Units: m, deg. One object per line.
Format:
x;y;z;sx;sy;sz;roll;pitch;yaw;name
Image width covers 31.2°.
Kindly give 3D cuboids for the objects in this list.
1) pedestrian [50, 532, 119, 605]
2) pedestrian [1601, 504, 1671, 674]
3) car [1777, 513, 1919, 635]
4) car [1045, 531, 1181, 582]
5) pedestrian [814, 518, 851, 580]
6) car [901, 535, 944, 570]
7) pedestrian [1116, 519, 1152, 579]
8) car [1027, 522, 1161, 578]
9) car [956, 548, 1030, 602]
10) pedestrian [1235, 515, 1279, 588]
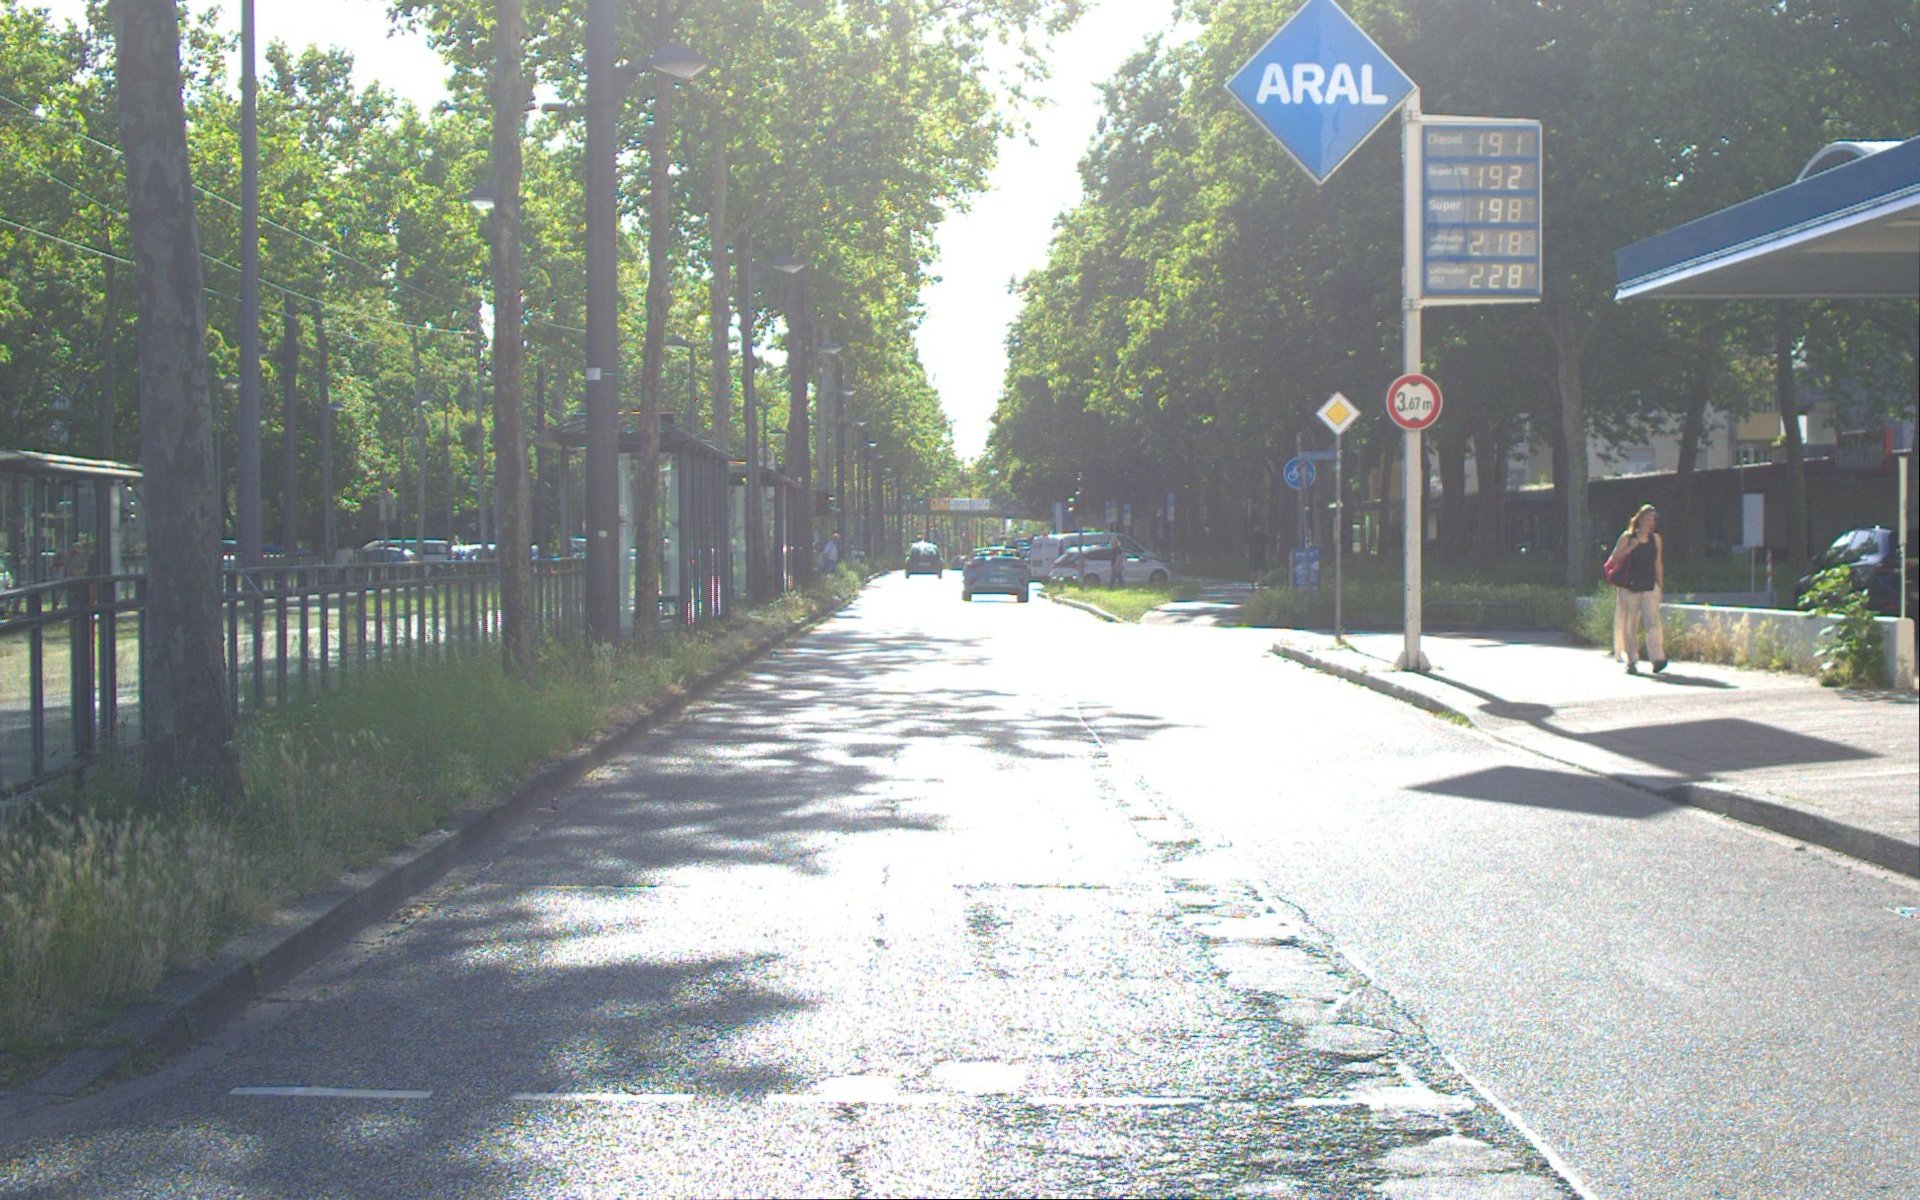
-15.323;-0.545;60.183;0.838;1.256;0.798;1;1;28;pedestrian
6.795;-0.112;34.573;0.604;1.696;0.552;0;1;4;pedestrian
11.815;-0.349;43.221;1.720;1.458;4.006;0;1;-7;car
4.902;-1.401;110.127;3.985;1.464;1.761;-3;2;-31;car
-3.557;-1.425;95.910;0.842;1.716;0.829;0;1;15;pedestrian
-1.648;-2.134;153.097;1.849;1.530;3.866;0;1;0;car
4.979;-1.463;98.345;0.710;1.700;0.654;-2;1;-34;pedestrian
4.720;-1.758;120.730;4.657;1.846;1.830;-2;1;-40;car
0.876;-0.708;94.650;1.922;1.406;4.000;1;1;-1;car
7.698;-1.270;89.069;0.925;1.878;0.800;0;1;-14;pedestrian
